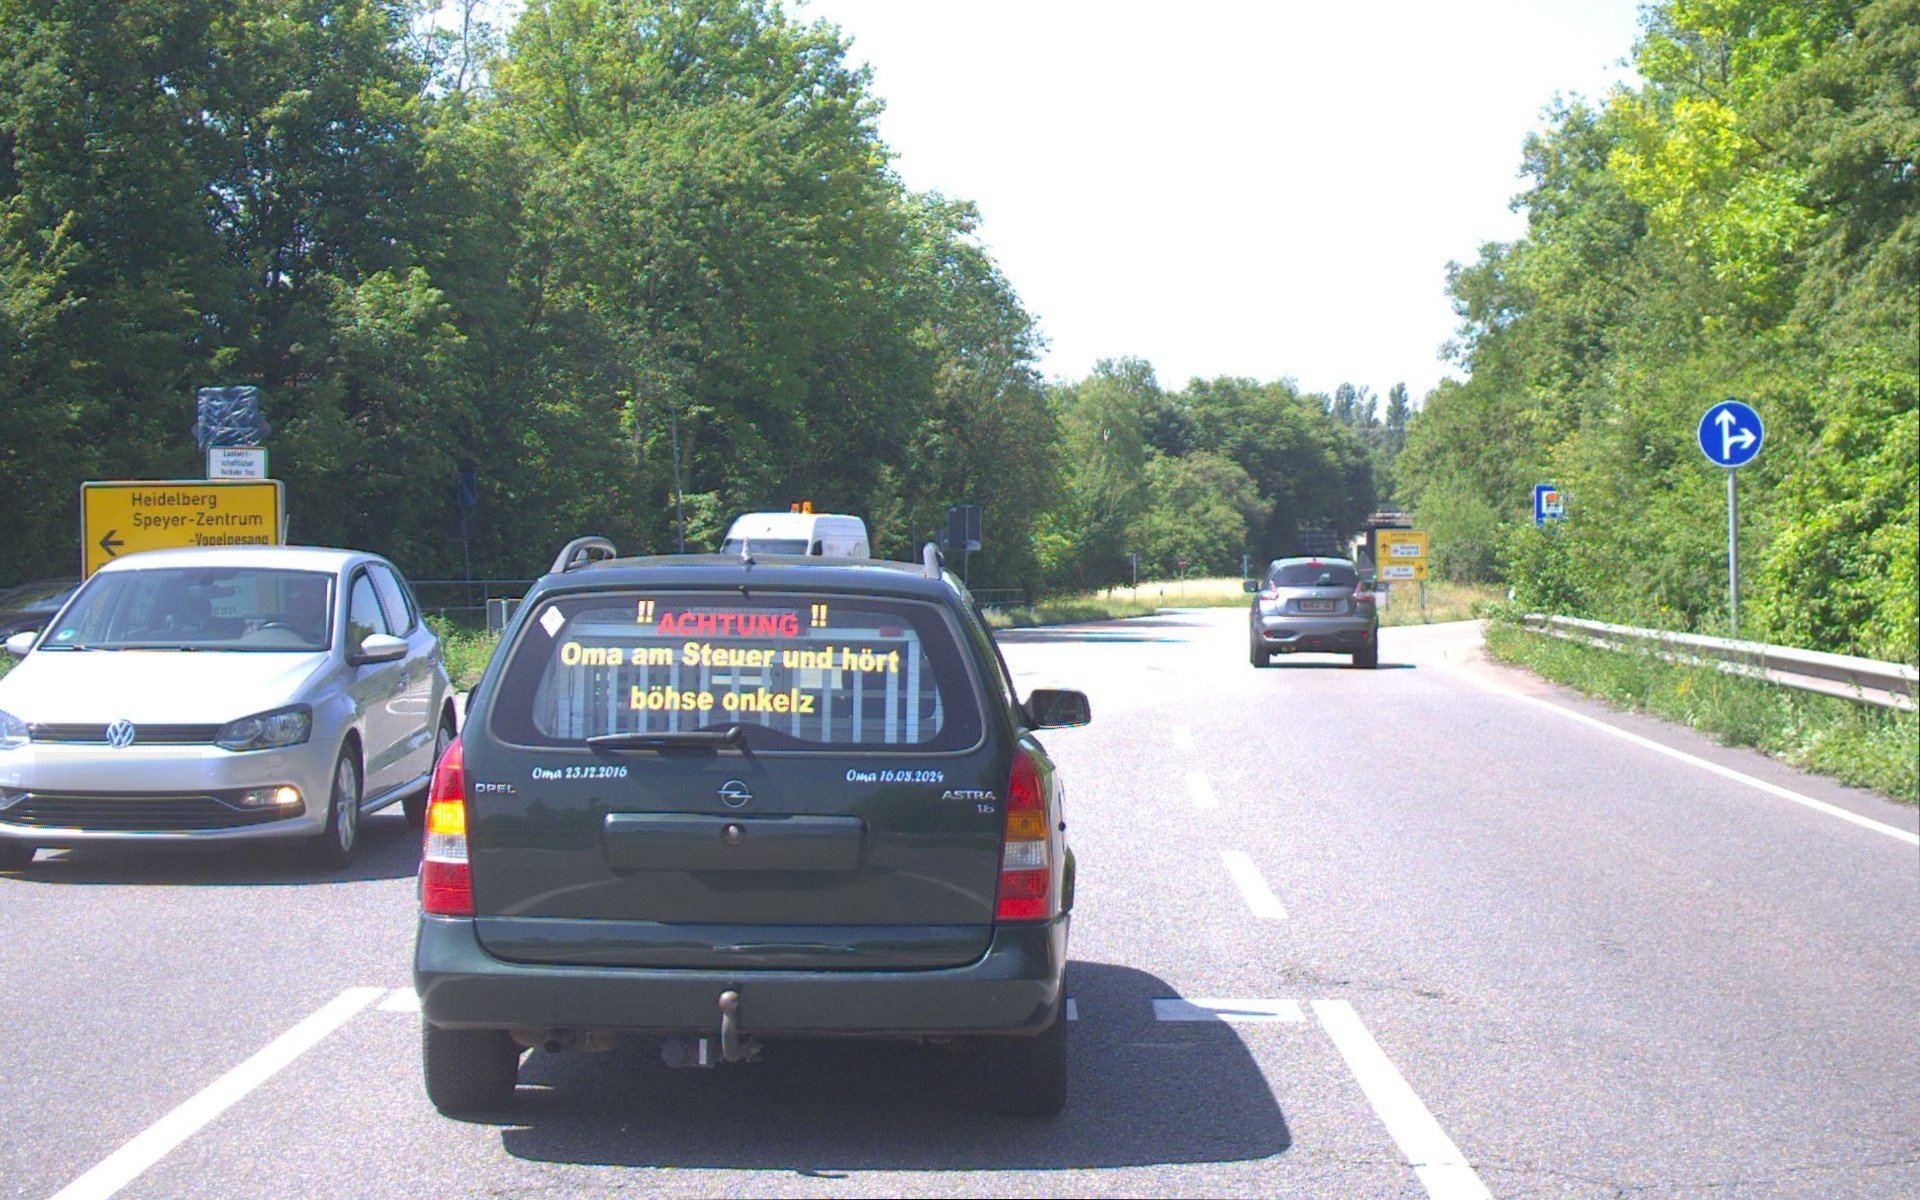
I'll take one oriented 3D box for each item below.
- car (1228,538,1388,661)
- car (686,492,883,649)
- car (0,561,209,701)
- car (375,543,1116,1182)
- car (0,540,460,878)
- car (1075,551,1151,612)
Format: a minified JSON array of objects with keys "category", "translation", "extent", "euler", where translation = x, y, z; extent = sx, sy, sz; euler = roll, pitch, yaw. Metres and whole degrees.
[{"category":"car","translation":[4.979,-0.038,49.643],"extent":[1.843,1.679,4.000],"euler":[0,1,-1]},{"category":"car","translation":[-3.291,-0.576,65.880],"extent":[2.106,2.840,6.008],"euler":[1,1,14]},{"category":"car","translation":[-11.607,0.363,43.926],"extent":[1.675,1.656,3.994],"euler":[0,1,30]},{"category":"car","translation":[-0.504,0.582,9.926],"extent":[1.720,1.452,3.798],"euler":[0,1,0]},{"category":"car","translation":[-3.487,0.434,16.336],"extent":[1.644,1.414,3.766],"euler":[0,1,0]},{"category":"car","translation":[8.267,-1.018,186.100],"extent":[1.993,3.215,4.809],"euler":[-1,1,-27]}]
